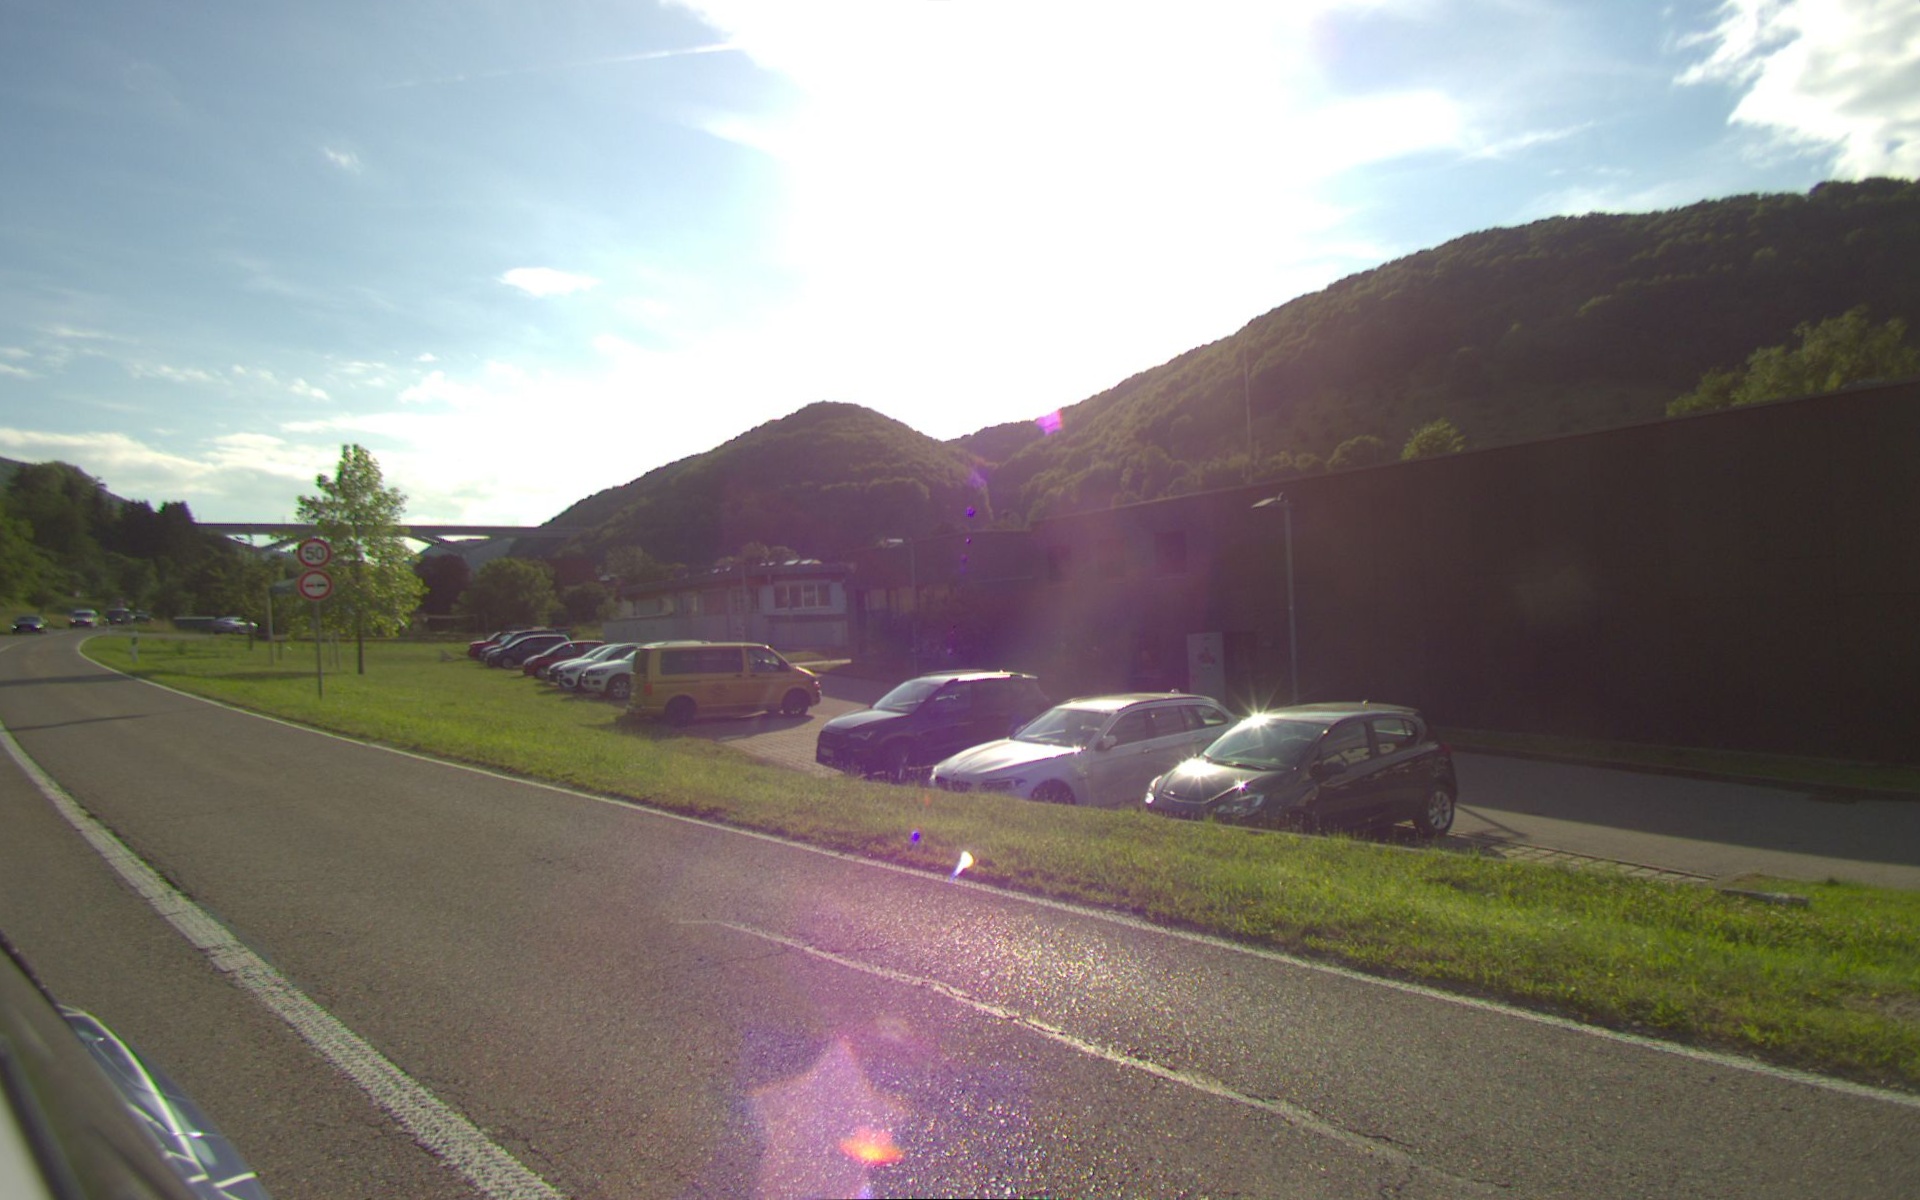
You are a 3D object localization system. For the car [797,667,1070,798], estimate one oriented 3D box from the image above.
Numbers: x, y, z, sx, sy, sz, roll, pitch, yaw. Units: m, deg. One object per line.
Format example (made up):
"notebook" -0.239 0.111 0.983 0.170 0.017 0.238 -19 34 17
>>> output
"car" -0.397 2.108 17.149 4.226 1.650 1.917 -2 -1 -35

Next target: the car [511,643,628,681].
"car" -16.562 2.600 42.947 4.370 1.463 2.006 0 -2 -30

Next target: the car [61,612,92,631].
"car" -88.789 2.184 101.739 1.770 1.749 4.295 -1 -1 -33

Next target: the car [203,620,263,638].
"car" -66.109 2.612 92.139 1.973 1.539 4.771 -1 -1 1

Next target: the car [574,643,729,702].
"car" -10.033 2.309 32.961 4.477 1.714 2.006 0 -2 -30

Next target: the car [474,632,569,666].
"car" -24.161 2.672 55.842 4.595 1.776 2.006 0 -2 -31

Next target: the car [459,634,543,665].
"car" -27.269 2.922 60.175 4.371 1.733 2.006 0 -2 -31

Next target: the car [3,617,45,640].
"car" -72.973 2.228 78.954 1.882 1.698 4.009 0 -2 -36

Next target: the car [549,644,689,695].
"car" -12.056 2.413 35.831 4.370 1.599 2.006 0 -2 -30

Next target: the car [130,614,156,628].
"car" -106.358 2.763 131.748 1.966 1.730 4.012 -2 -1 -30

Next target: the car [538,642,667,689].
"car" -13.683 2.470 38.799 4.371 1.595 2.006 0 -2 -32

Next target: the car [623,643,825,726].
"car" -5.951 2.060 25.626 4.583 1.827 2.006 0 -2 -30

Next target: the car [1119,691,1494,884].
"car" 3.896 1.913 11.272 3.932 1.546 1.839 0 -2 -31

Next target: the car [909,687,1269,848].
"car" 1.786 2.035 13.319 4.577 1.508 1.918 1 -2 -34

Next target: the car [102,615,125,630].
"car" -98.815 2.612 118.158 1.651 1.659 3.355 -1 -1 -32

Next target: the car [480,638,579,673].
"car" -21.915 2.783 51.570 4.371 1.595 2.006 -1 -1 -31
